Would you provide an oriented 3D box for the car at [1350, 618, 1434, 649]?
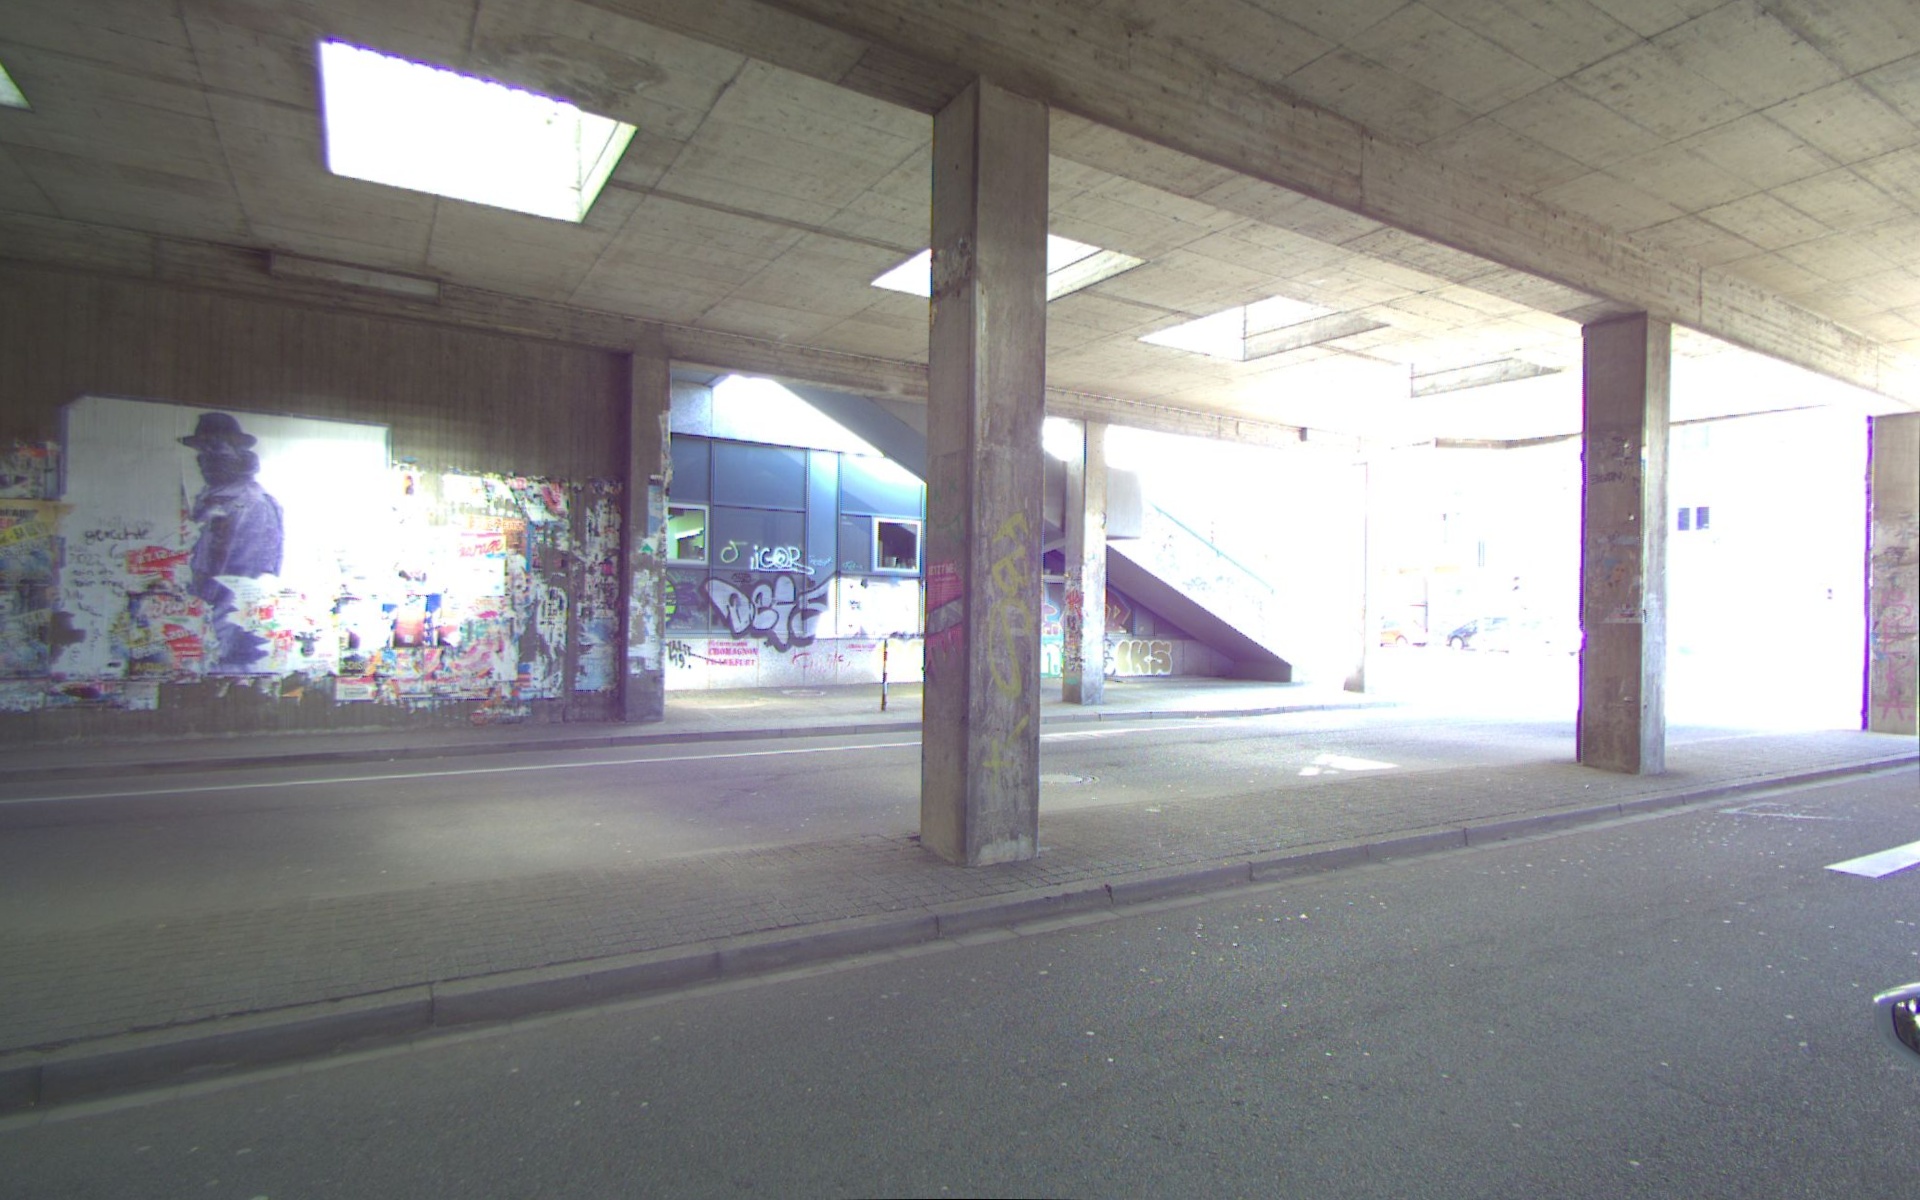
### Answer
[{"bbox_3d":[22.568,1.733,52.621,1.730,1.495,3.741,2,-1,-31],"label":"car"}]

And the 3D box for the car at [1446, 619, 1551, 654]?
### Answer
[{"bbox_3d":[25.480,1.714,47.665,1.718,1.495,4.089,2,-1,-31],"label":"car"}]

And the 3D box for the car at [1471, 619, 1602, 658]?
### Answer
[{"bbox_3d":[23.136,1.515,40.452,1.860,1.417,4.261,2,-1,-28],"label":"car"}]
